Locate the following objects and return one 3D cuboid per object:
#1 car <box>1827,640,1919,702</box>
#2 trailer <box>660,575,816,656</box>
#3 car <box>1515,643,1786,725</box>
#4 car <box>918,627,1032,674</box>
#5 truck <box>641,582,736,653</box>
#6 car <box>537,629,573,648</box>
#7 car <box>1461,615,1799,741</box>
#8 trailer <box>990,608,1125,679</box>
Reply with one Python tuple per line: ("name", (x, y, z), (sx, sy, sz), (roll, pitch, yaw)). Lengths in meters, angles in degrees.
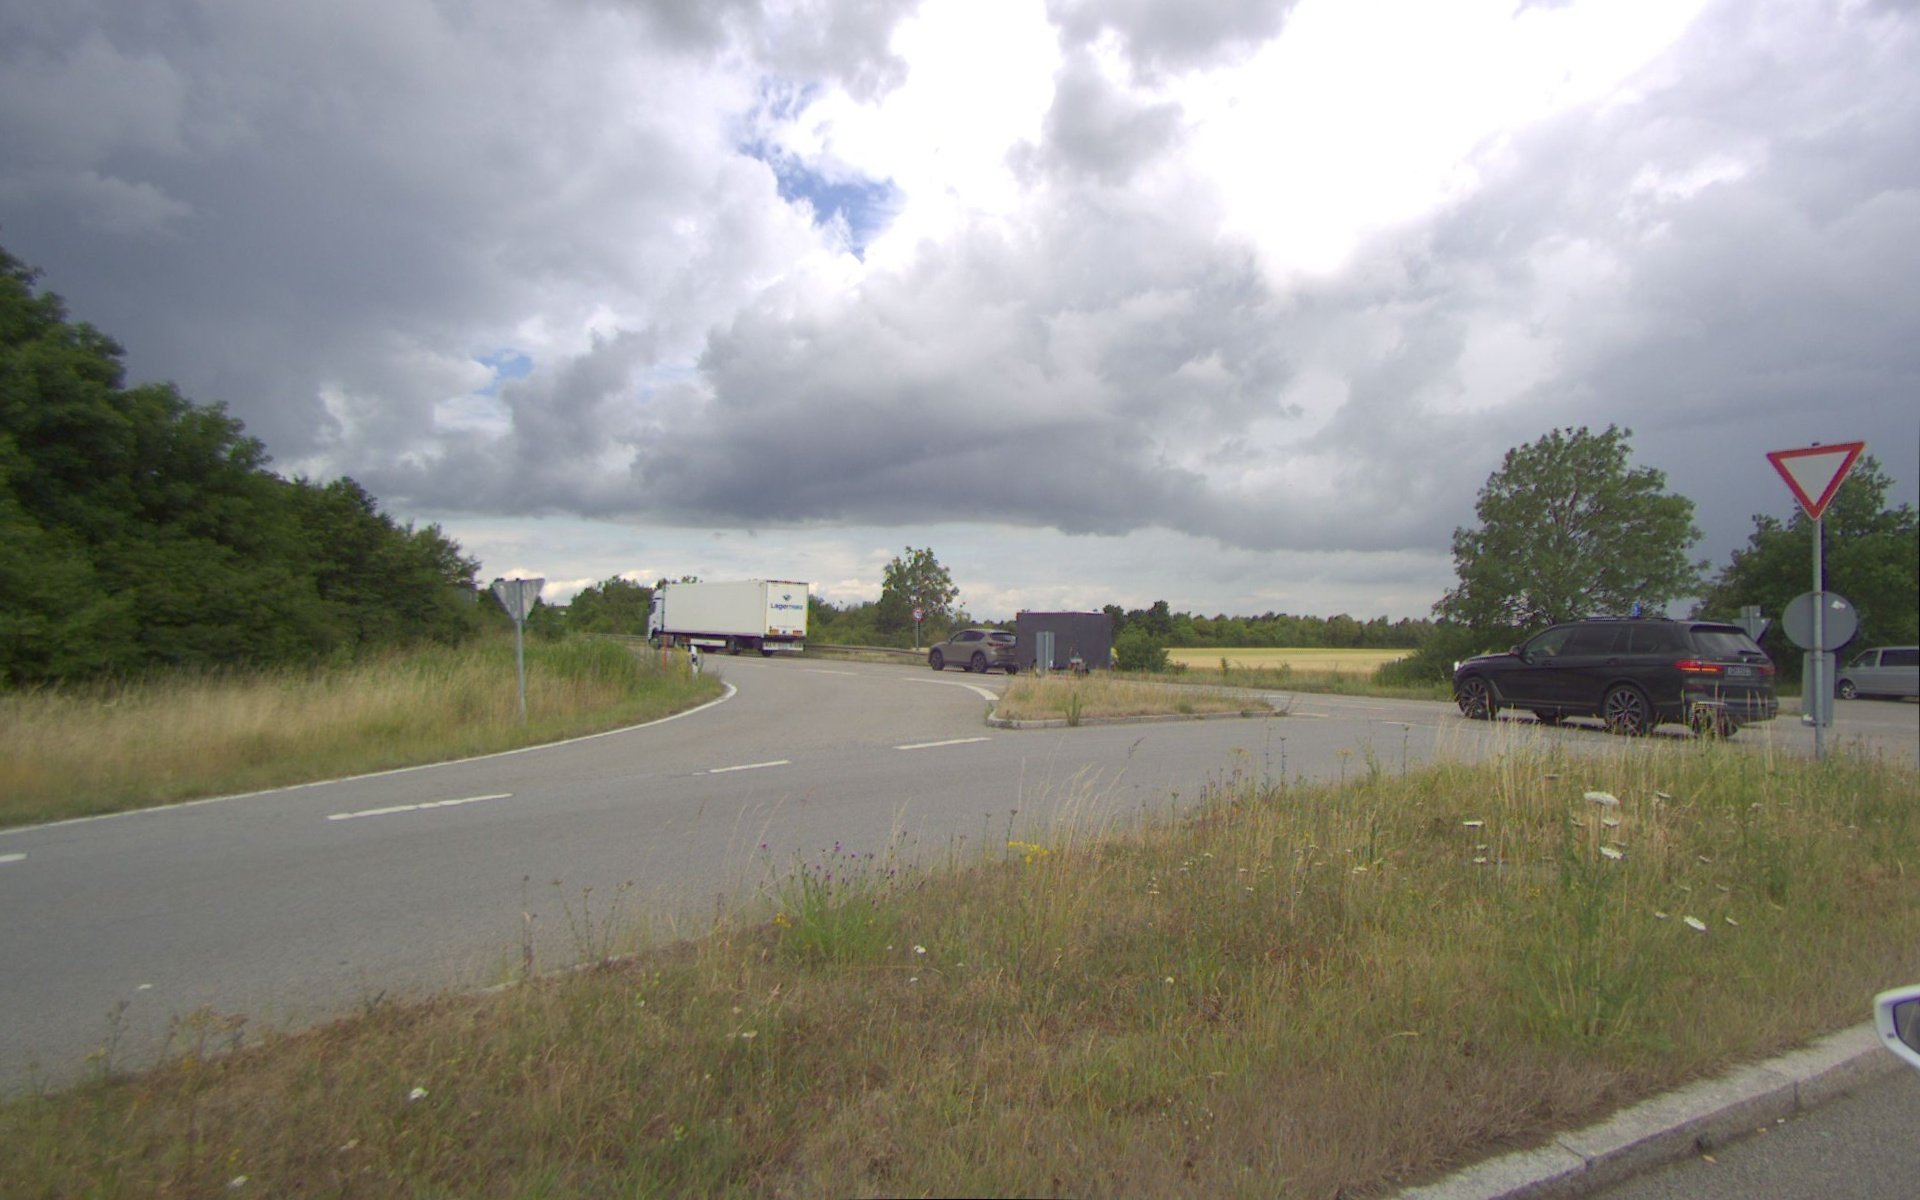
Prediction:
("car", (33.740, 2.461, 35.340), (2.295, 2.040, 4.916), (-1, -2, 2))
("trailer", (-13.023, 0.978, 57.400), (3.101, 4.066, 13.737), (3, -3, -38))
("car", (14.203, 1.651, 20.865), (1.983, 1.506, 4.255), (2, -3, -38))
("car", (0.518, 1.942, 38.807), (1.984, 1.704, 4.427), (4, -4, -40))
("truck", (-16.987, 1.124, 62.568), (3.101, 4.066, 7.229), (3, -3, -38))
("car", (-34.949, 3.332, 86.664), (1.981, 1.622, 4.183), (1, -3, -36))
("car", (10.866, 1.206, 16.798), (1.966, 1.798, 4.633), (2, -2, -13))
("trailer", (3.393, 1.543, 35.467), (2.397, 2.322, 4.346), (3, -4, -39))
